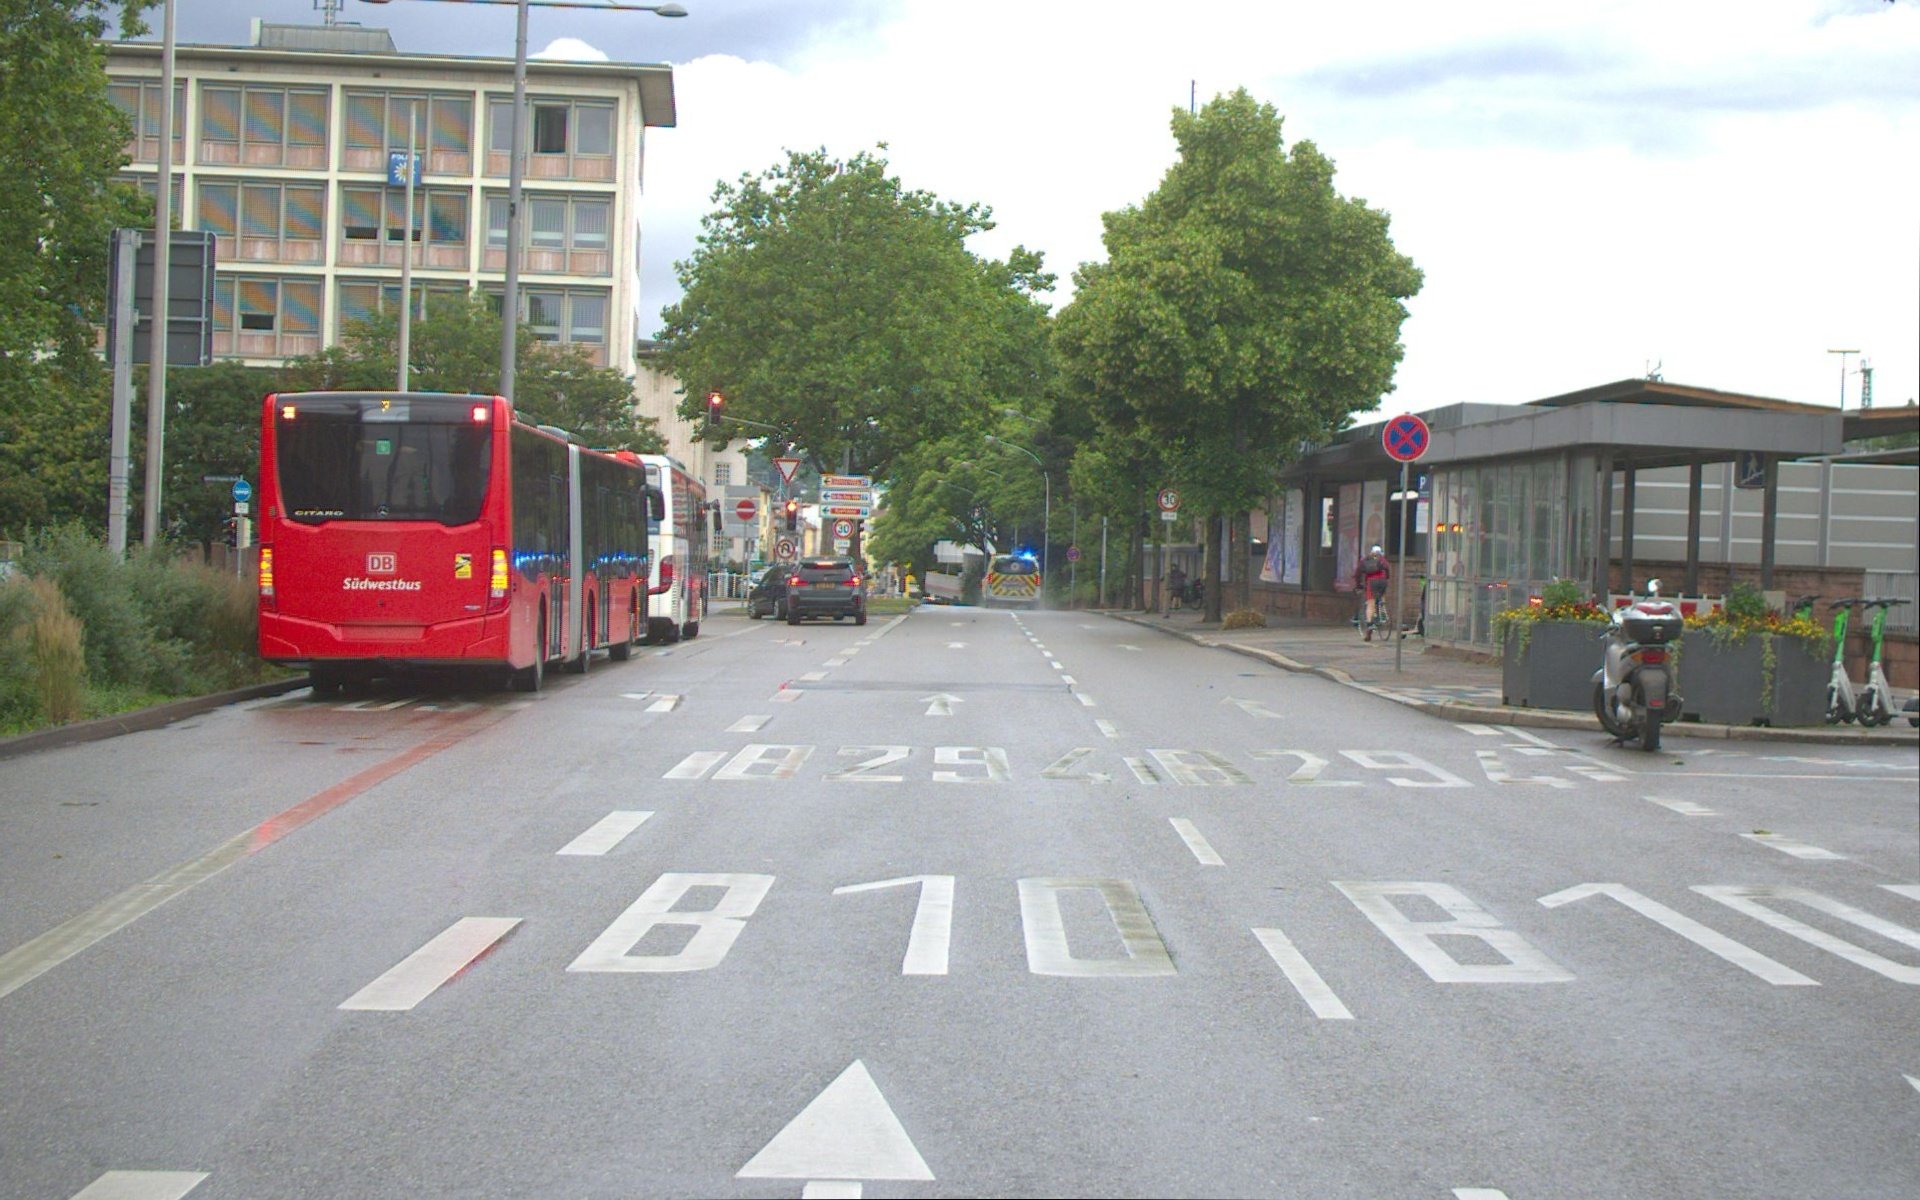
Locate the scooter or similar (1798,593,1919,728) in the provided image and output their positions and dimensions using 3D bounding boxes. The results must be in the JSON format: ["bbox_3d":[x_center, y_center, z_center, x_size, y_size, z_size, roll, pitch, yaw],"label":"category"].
[{"bbox_3d":[8.437,0.548,31.472,1.065,1.151,1.667,3,1,0],"label":"scooter or similar"}]

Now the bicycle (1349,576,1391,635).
[{"bbox_3d":[7.153,0.088,60.038,0.446,1.013,1.678,-1,1,-2],"label":"bicycle"}]

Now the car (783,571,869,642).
[{"bbox_3d":[-3.168,0.136,81.586,1.964,1.634,4.359,1,0,-2],"label":"car"}]

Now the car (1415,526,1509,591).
[{"bbox_3d":[14.887,-1.245,102.180,1.993,1.865,4.598,0,1,-2],"label":"car"}]

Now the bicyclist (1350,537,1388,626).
[{"bbox_3d":[7.134,-0.323,59.992,0.533,1.533,0.694,-1,0,-3],"label":"bicyclist"}]

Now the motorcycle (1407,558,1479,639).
[{"bbox_3d":[8.322,-0.040,59.325,0.791,1.343,2.457,1,1,-3],"label":"motorcycle"}]

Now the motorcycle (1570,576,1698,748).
[{"bbox_3d":[5.557,0.488,28.442,0.643,1.347,2.109,1,1,0],"label":"motorcycle"}]

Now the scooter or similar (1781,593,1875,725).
[{"bbox_3d":[7.842,0.533,31.048,0.413,1.151,1.261,4,1,31],"label":"scooter or similar"}]

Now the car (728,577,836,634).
[{"bbox_3d":[-4.622,0.128,88.710,1.815,1.404,4.415,0,0,-16],"label":"car"}]

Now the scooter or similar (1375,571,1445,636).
[{"bbox_3d":[8.044,0.056,61.514,0.492,1.149,1.716,1,0,-20],"label":"scooter or similar"}]

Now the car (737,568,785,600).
[{"bbox_3d":[-8.758,-0.705,151.775,1.691,1.293,4.092,2,0,2],"label":"car"}]

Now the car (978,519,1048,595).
[{"bbox_3d":[1.848,-1.527,121.718,2.264,2.647,4.000,0,1,-2],"label":"car"}]

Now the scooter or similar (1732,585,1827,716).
[{"bbox_3d":[7.463,0.461,31.277,0.413,1.151,1.261,4,1,31],"label":"scooter or similar"}]

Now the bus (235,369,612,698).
[{"bbox_3d":[-5.807,-0.726,38.940,2.809,3.234,9.914,0,1,-1],"label":"bus"}]

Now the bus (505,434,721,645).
[{"bbox_3d":[-6.161,-1.078,62.962,2.955,3.428,12.560,1,1,-1],"label":"bus"}]

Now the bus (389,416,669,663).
[{"bbox_3d":[-5.878,-0.834,48.314,2.752,3.122,8.843,0,1,0],"label":"bus"}]

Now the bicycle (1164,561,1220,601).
[{"bbox_3d":[7.271,-0.583,107.859,1.723,1.244,0.485,0,0,32],"label":"bicycle"}]

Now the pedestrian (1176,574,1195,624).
[{"bbox_3d":[7.062,-0.029,107.470,0.457,1.563,0.392,0,0,32],"label":"pedestrian"}]
